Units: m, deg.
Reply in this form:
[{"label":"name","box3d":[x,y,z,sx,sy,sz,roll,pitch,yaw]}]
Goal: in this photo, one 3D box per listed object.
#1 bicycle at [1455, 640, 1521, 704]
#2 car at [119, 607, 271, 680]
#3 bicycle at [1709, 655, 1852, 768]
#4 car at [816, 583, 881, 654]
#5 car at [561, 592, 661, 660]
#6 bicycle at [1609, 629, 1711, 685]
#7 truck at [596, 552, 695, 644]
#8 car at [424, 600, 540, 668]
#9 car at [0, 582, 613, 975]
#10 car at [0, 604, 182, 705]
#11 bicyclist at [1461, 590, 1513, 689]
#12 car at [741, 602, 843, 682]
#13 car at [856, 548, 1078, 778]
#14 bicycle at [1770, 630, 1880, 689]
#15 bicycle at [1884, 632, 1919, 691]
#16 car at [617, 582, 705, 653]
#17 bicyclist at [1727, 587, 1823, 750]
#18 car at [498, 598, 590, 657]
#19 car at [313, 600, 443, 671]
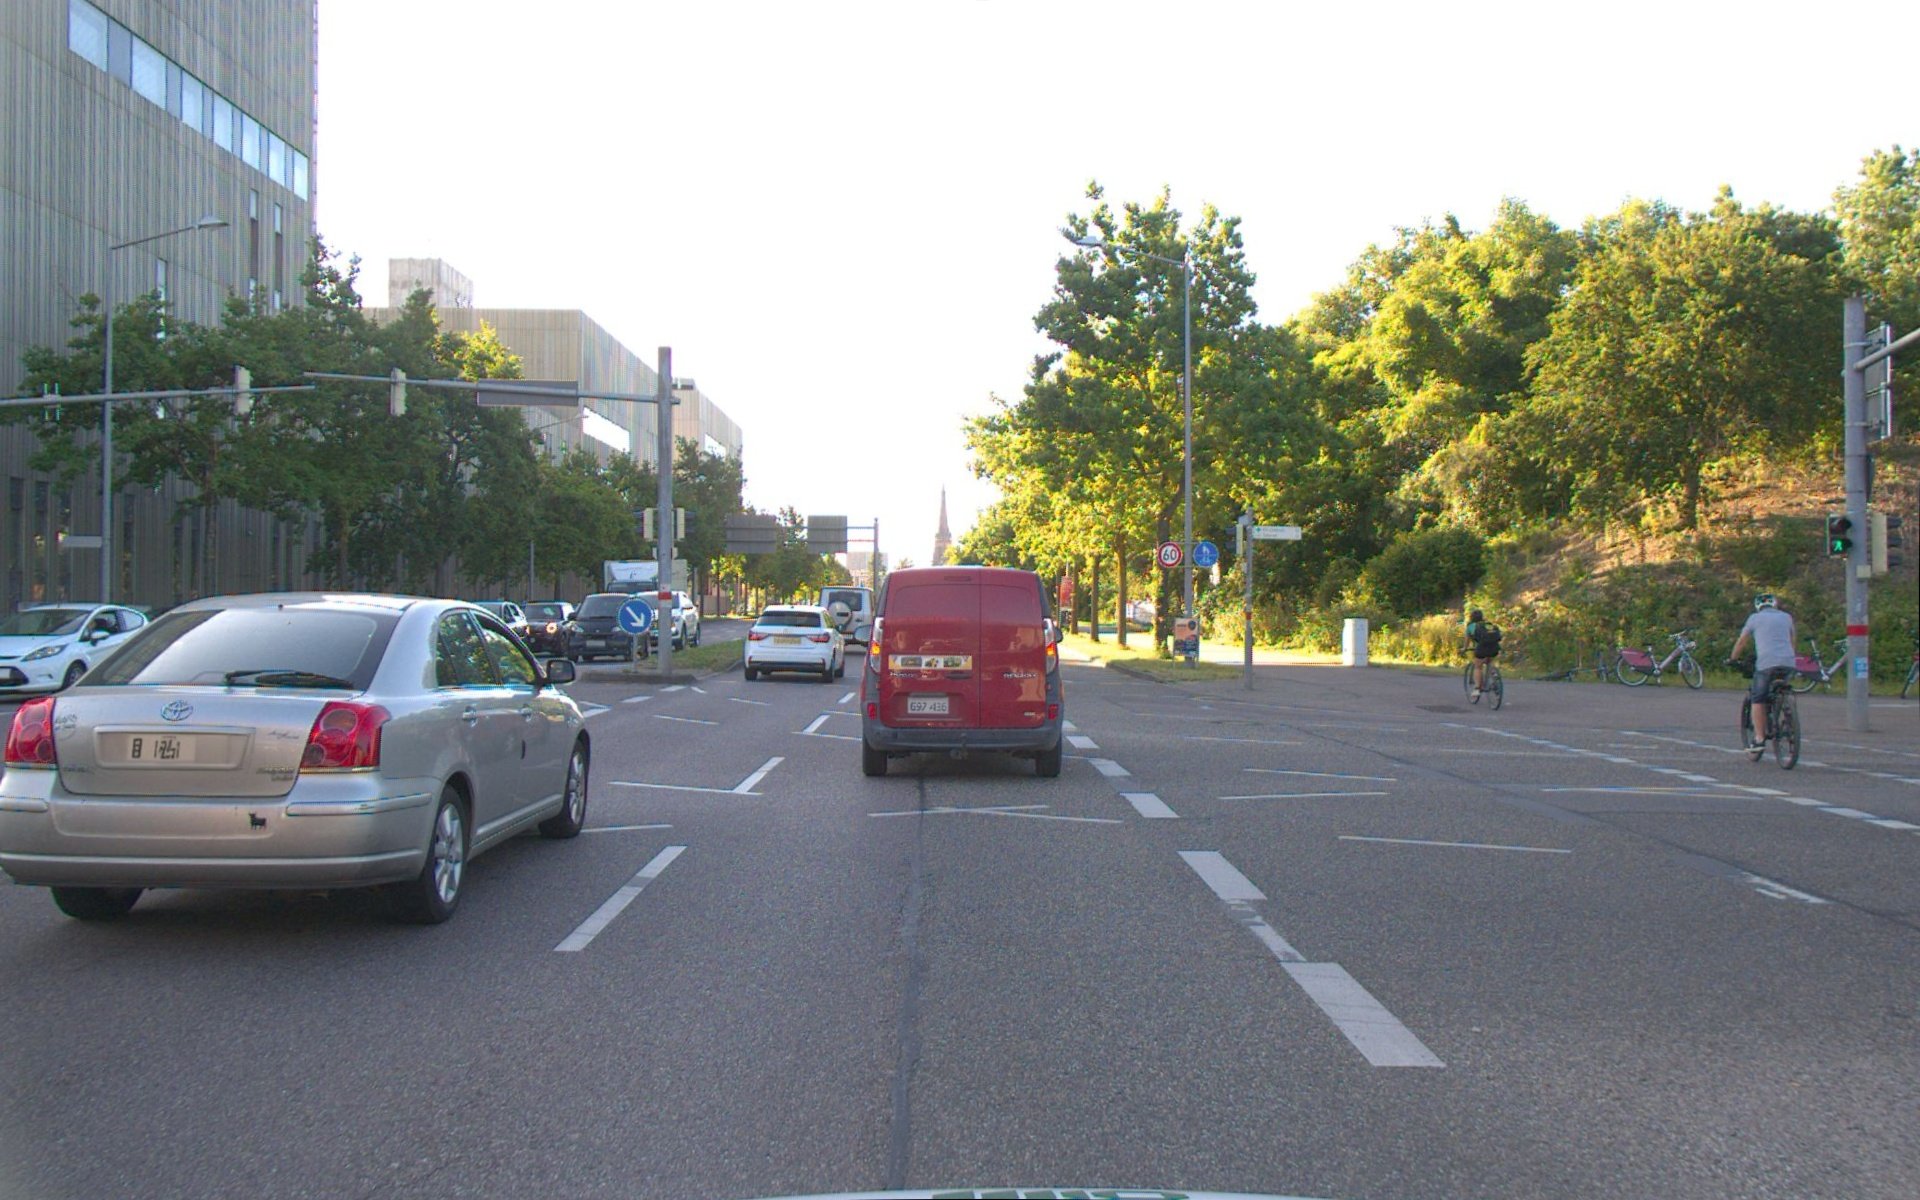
[{"label":"bicycle","box3d":[8.976,1.222,28.173,0.579,1.041,1.750,1,-2,1]},{"label":"car","box3d":[-16.617,0.932,36.109,1.612,1.459,3.492,-2,-1,1]},{"label":"bicycle","box3d":[8.121,1.078,16.444,0.579,1.041,1.750,1,-2,1]},{"label":"car","box3d":[-3.344,0.600,50.101,1.764,2.024,4.586,1,-2,-2]},{"label":"car","box3d":[-8.221,0.613,39.193,1.603,1.469,3.718,-2,-1,-1]},{"label":"bicycle","box3d":[13.544,1.103,32.030,1.707,1.041,0.594,1,-2,7]},{"label":"truck","box3d":[-11.314,-0.021,60.095,2.360,3.080,6.654,-2,-1,-1]},{"label":"car","box3d":[-11.231,0.797,39.103,1.603,1.469,4.075,-2,-1,-1]},{"label":"car","box3d":[-3.103,0.716,8.551,1.698,1.506,4.318,1,-1,0]},{"label":"car","box3d":[-13.951,0.833,25.921,1.613,1.429,3.977,-2,-1,0]},{"label":"bicyclist","box3d":[8.973,0.674,28.186,0.579,1.642,0.942,1,-2,1]},{"label":"car","box3d":[-3.231,0.794,32.463,1.777,1.463,3.728,1,-1,-3]},{"label":"car","box3d":[0.081,0.575,15.457,1.768,1.826,3.999,1,-2,1]},{"label":"bicycle","box3d":[15.977,1.094,30.568,1.707,1.041,0.594,1,-2,7]},{"label":"bicycle","box3d":[17.596,1.119,29.656,1.707,1.041,0.594,1,-2,13]},{"label":"car","box3d":[-8.306,0.497,46.214,1.721,1.828,4.082,-2,-1,-1]},{"label":"bicyclist","box3d":[8.103,0.675,16.466,0.579,1.576,0.769,1,-2,1]},{"label":"car","box3d":[-11.138,0.732,44.494,1.603,1.469,4.074,-2,-1,-3]},{"label":"car","box3d":[-14.111,0.850,40.374,1.613,1.572,4.397,-2,-1,-1]}]
